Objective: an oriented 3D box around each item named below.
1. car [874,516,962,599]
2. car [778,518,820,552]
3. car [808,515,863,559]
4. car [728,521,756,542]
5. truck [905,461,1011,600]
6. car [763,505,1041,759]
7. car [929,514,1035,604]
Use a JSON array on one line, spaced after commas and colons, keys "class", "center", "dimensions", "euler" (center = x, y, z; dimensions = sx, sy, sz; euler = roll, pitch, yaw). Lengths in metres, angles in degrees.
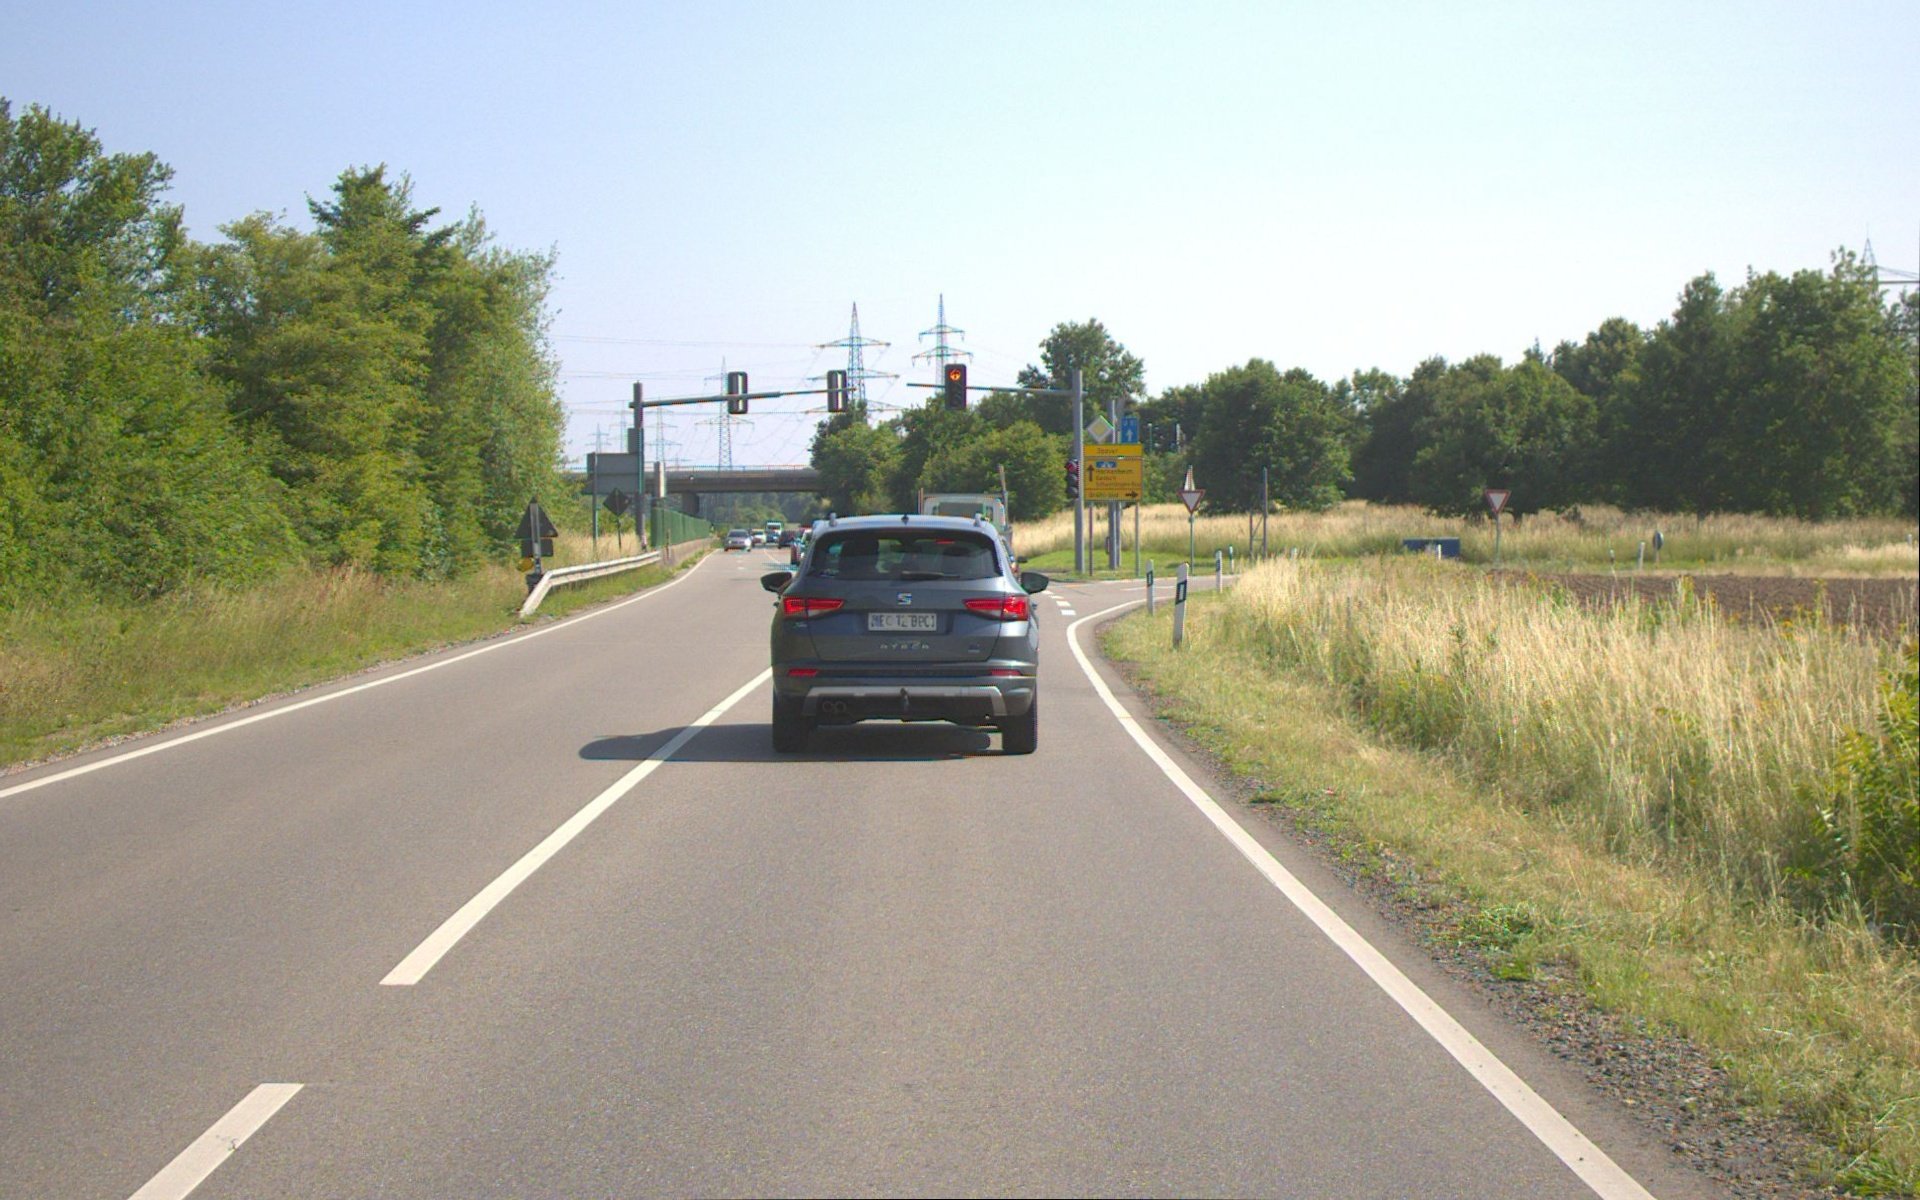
[{"class": "car", "center": [-0.891, -0.914, 71.733], "dimensions": [1.785, 1.670, 4.001], "euler": [0, 2, -1]}, {"class": "car", "center": [-6.748, -2.731, 143.727], "dimensions": [1.684, 1.375, 3.534], "euler": [0, 2, -4]}, {"class": "car", "center": [-4.493, -2.289, 123.792], "dimensions": [1.816, 1.535, 4.001], "euler": [-1, 2, -4]}, {"class": "car", "center": [-14.660, -4.614, 231.196], "dimensions": [1.824, 1.426, 4.001], "euler": [-1, 2, -5]}, {"class": "truck", "center": [-0.027, -1.586, 79.210], "dimensions": [2.337, 3.055, 5.810], "euler": [0, 1, 0]}, {"class": "car", "center": [-0.401, 0.150, 24.143], "dimensions": [1.785, 1.623, 4.001], "euler": [0, 2, -1]}, {"class": "car", "center": [0.364, -0.755, 61.425], "dimensions": [1.785, 1.538, 4.001], "euler": [0, 2, -1]}]
